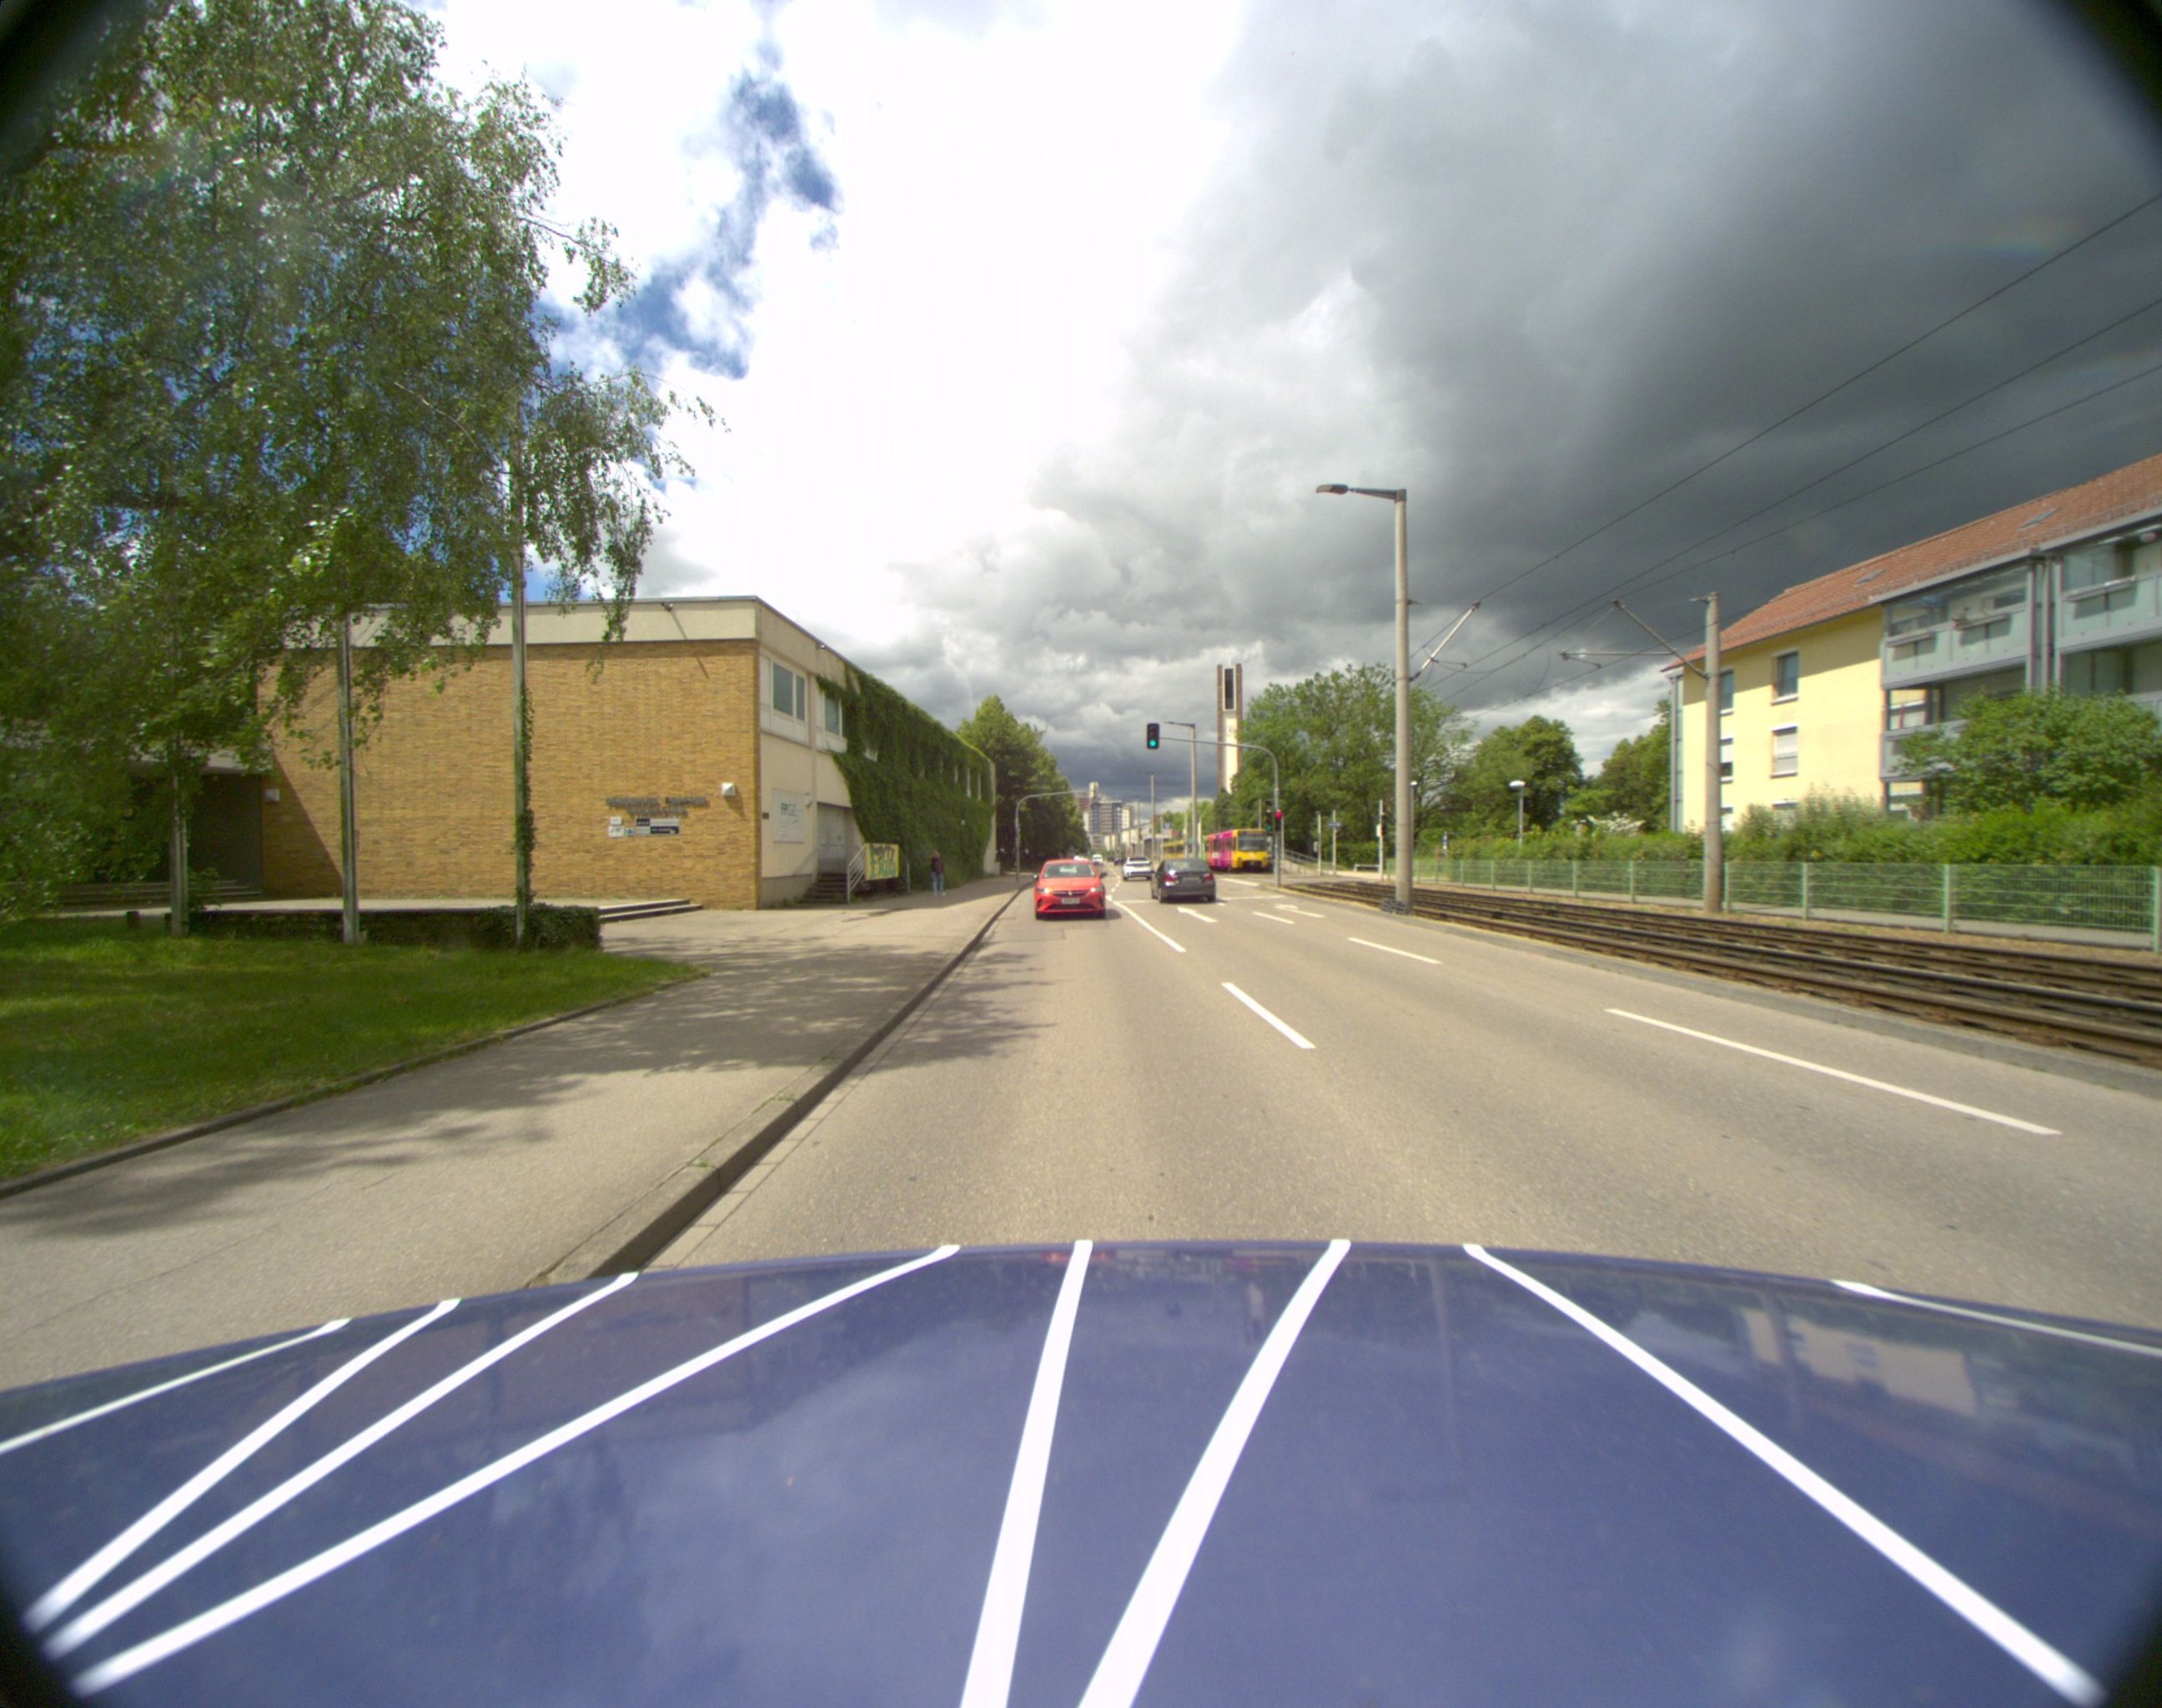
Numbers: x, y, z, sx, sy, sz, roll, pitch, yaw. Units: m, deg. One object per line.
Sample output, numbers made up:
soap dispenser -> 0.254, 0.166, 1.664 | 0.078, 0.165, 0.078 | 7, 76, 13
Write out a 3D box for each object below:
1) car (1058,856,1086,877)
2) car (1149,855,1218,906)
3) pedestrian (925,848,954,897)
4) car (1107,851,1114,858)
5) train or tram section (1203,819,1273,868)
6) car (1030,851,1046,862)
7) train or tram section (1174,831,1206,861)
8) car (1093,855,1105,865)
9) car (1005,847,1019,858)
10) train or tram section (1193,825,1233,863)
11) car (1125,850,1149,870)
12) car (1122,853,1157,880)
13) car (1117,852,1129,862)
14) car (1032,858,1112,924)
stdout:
car -> -0.602, 0.897, 56.667 | 1.756, 1.433, 4.227 | -1, 1, 3
car -> 3.246, 0.796, 24.739 | 1.633, 1.424, 4.166 | -2, 0, 0
pedestrian -> -5.246, 0.657, 28.213 | 0.811, 1.761, 0.817 | 2, 1, 8
car -> 7.621, 0.109, 197.145 | 1.756, 1.603, 4.227 | -1, 1, 3
train or tram section -> 13.916, -0.910, 69.592 | 2.987, 3.840, 18.538 | -2, 0, 2
car -> -6.276, 0.325, 111.627 | 1.655, 1.533, 3.678 | -1, 1, 7
train or tram section -> 14.945, -1.138, 105.111 | 2.987, 3.840, 12.200 | -2, 1, 2
car -> 2.986, 0.988, 125.765 | 1.821, 1.433, 4.008 | -1, 1, 0
car -> -9.478, -0.204, 105.004 | 1.756, 1.533, 4.224 | -1, 1, -3
train or tram section -> 14.304, -1.032, 83.071 | 2.987, 3.840, 8.378 | -2, 1, 2
car -> 4.729, 0.488, 64.555 | 1.667, 1.543, 4.000 | -2, 1, 1
car -> 3.578, 0.728, 47.139 | 1.765, 1.543, 3.999 | -2, 1, 0
car -> 6.407, 0.474, 116.960 | 1.722, 1.433, 4.009 | -1, 1, 1
car -> -0.120, 0.882, 19.789 | 1.756, 1.433, 4.227 | -1, 1, 3
